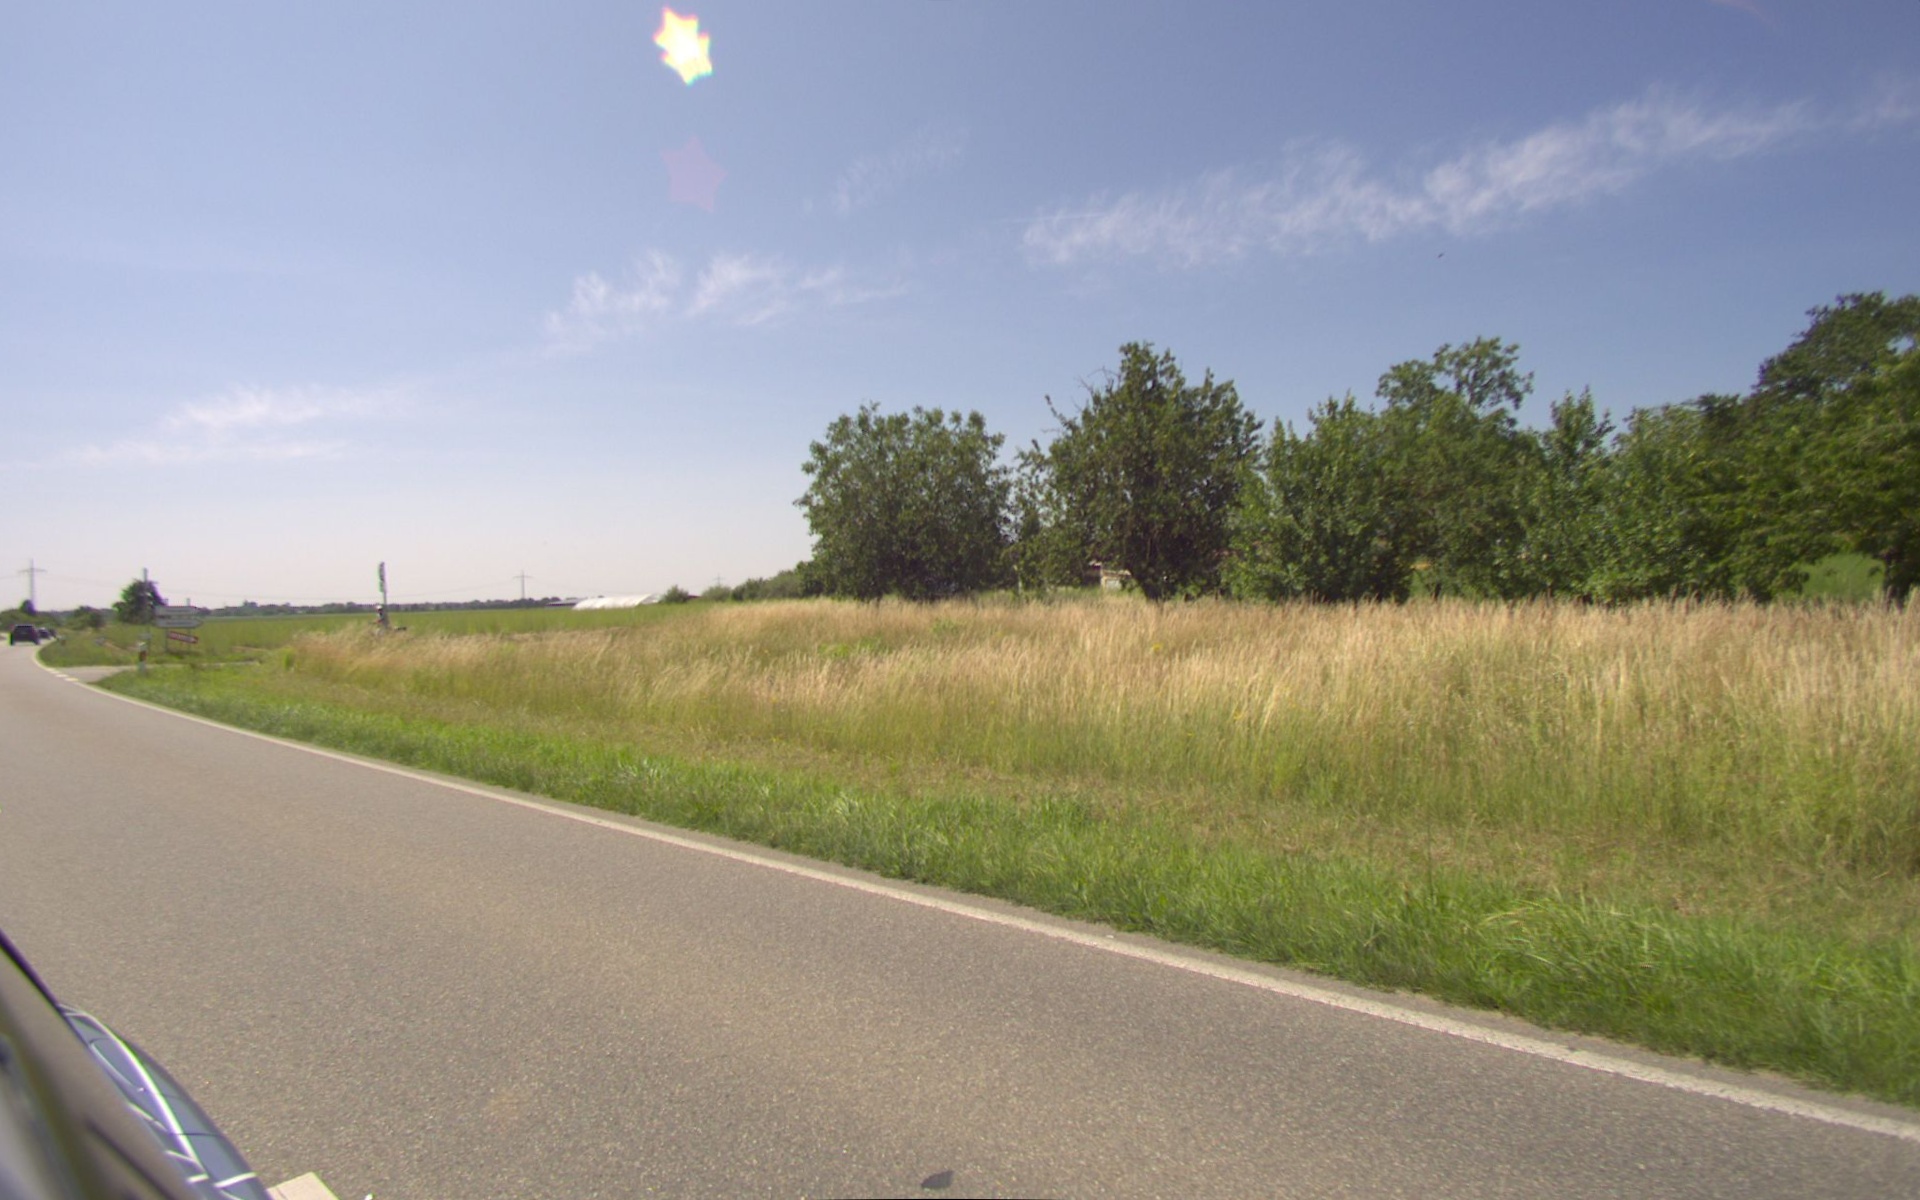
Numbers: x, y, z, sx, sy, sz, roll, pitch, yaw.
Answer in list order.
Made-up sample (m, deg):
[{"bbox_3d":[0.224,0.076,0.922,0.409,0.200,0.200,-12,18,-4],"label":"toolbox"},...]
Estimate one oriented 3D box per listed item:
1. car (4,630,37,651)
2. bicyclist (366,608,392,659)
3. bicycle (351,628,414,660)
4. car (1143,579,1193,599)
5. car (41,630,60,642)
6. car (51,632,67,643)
[{"bbox_3d":[-80.103,3.429,86.297,1.910,1.765,5.210,1,-2,-42],"label":"car"},{"bbox_3d":[-20.941,1.191,36.464,0.690,1.771,0.664,-2,1,-34],"label":"bicyclist"},{"bbox_3d":[-20.840,1.581,36.525,1.893,0.999,0.684,-3,1,-34],"label":"bicycle"},{"bbox_3d":[23.601,-1.261,114.957,1.842,2.077,5.513,-3,1,-40],"label":"car"},{"bbox_3d":[-107.933,4.220,120.115,1.720,1.367,4.424,0,-1,-42],"label":"car"},{"bbox_3d":[-126.922,5.252,142.567,1.719,1.544,4.147,0,-1,-42],"label":"car"}]
